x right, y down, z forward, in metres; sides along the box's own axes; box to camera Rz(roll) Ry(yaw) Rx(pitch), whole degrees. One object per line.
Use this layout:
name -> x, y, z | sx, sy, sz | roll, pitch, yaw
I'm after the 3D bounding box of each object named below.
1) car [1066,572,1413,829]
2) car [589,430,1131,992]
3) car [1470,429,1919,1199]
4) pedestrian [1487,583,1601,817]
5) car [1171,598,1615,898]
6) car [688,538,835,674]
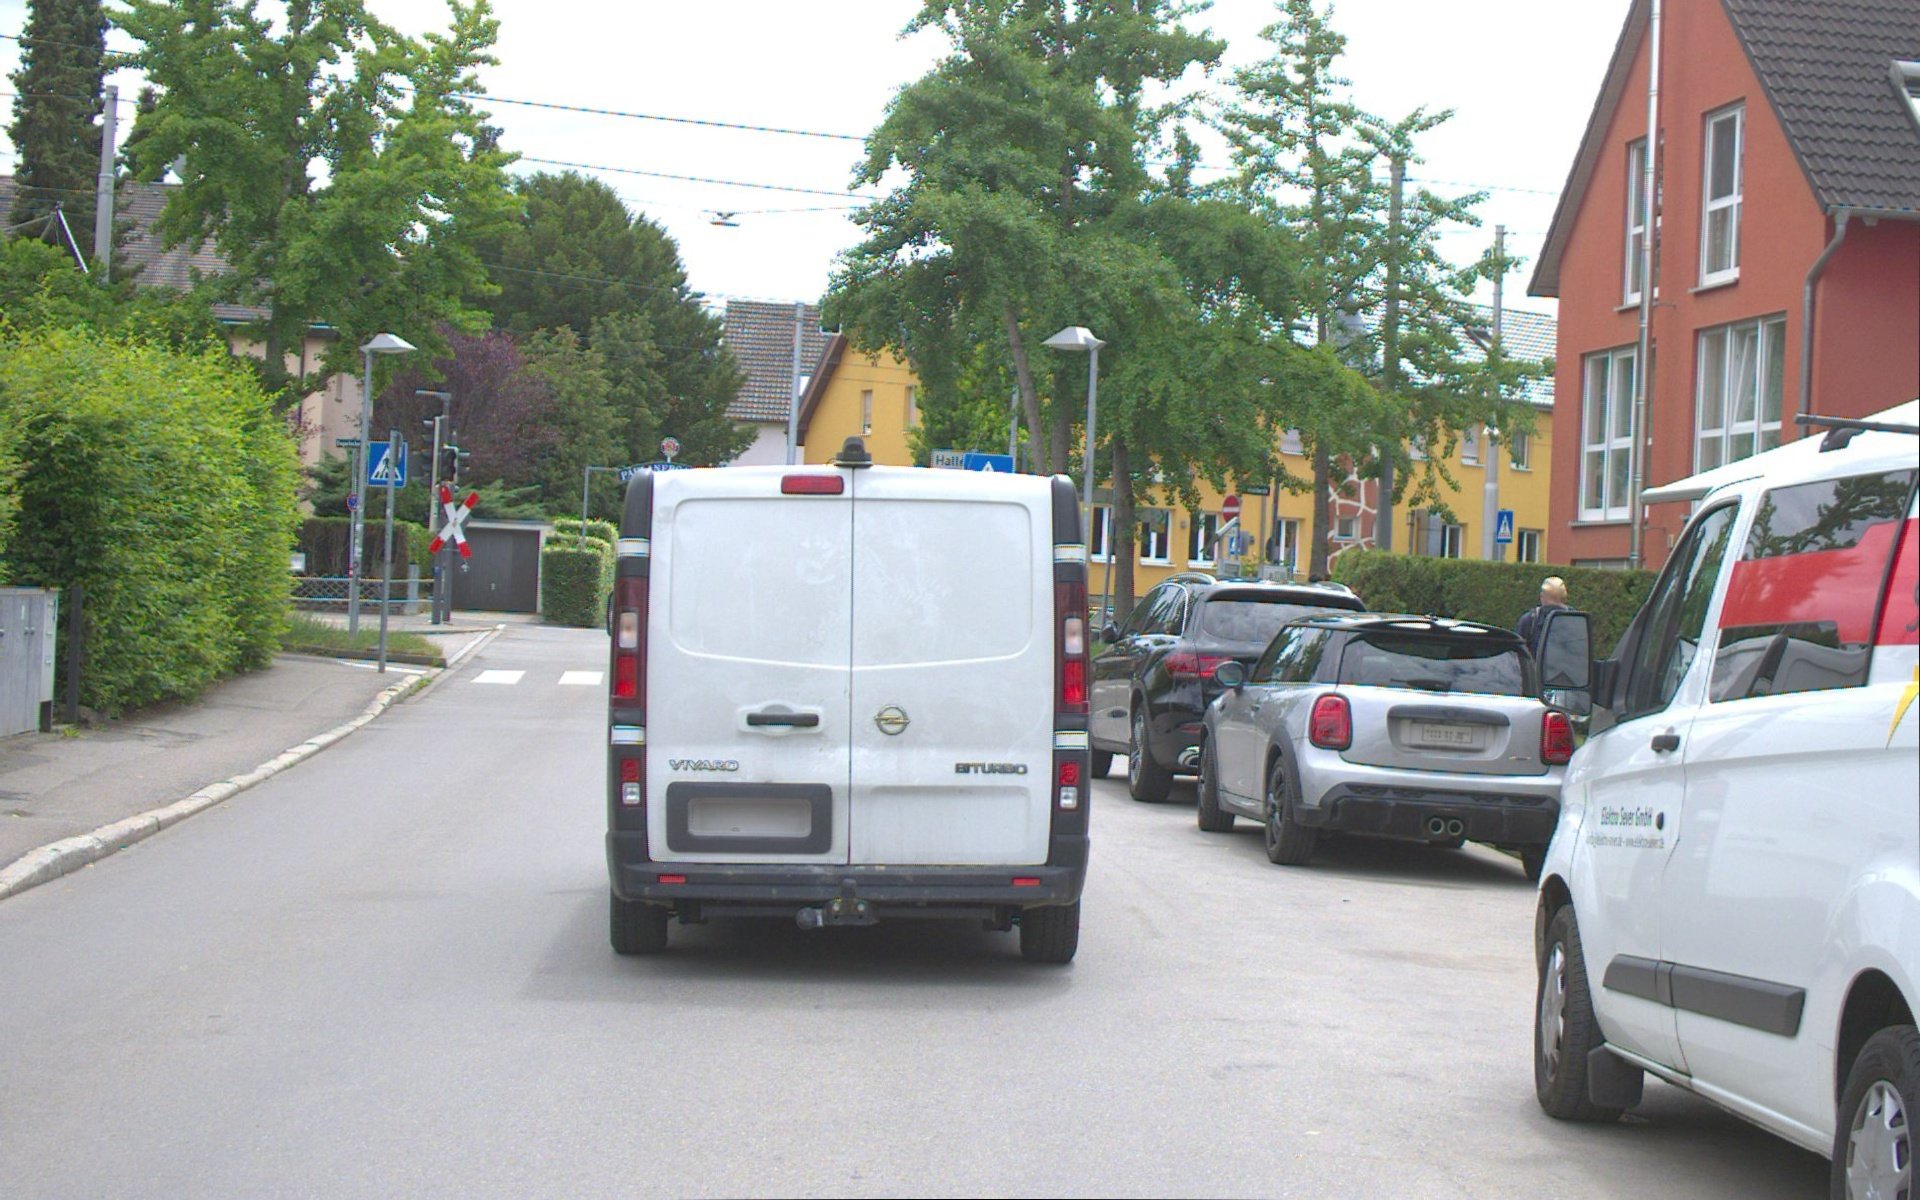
car -> 1.951, 0.668, 25.294 | 1.702, 1.609, 4.259 | 5, 0, -5
car -> -0.497, 0.405, 14.803 | 1.915, 1.996, 4.438 | 2, 0, -3
car -> 2.807, 0.682, 8.469 | 1.958, 1.909, 4.902 | 4, -1, -3
pedestrian -> 4.156, 0.707, 24.489 | 0.590, 1.601, 0.529 | 5, -1, -1
car -> 2.457, 0.811, 20.388 | 1.741, 1.489, 3.656 | 5, -1, -5
car -> -2.867, 0.096, 50.126 | 1.993, 1.842, 4.000 | 2, -1, -3
